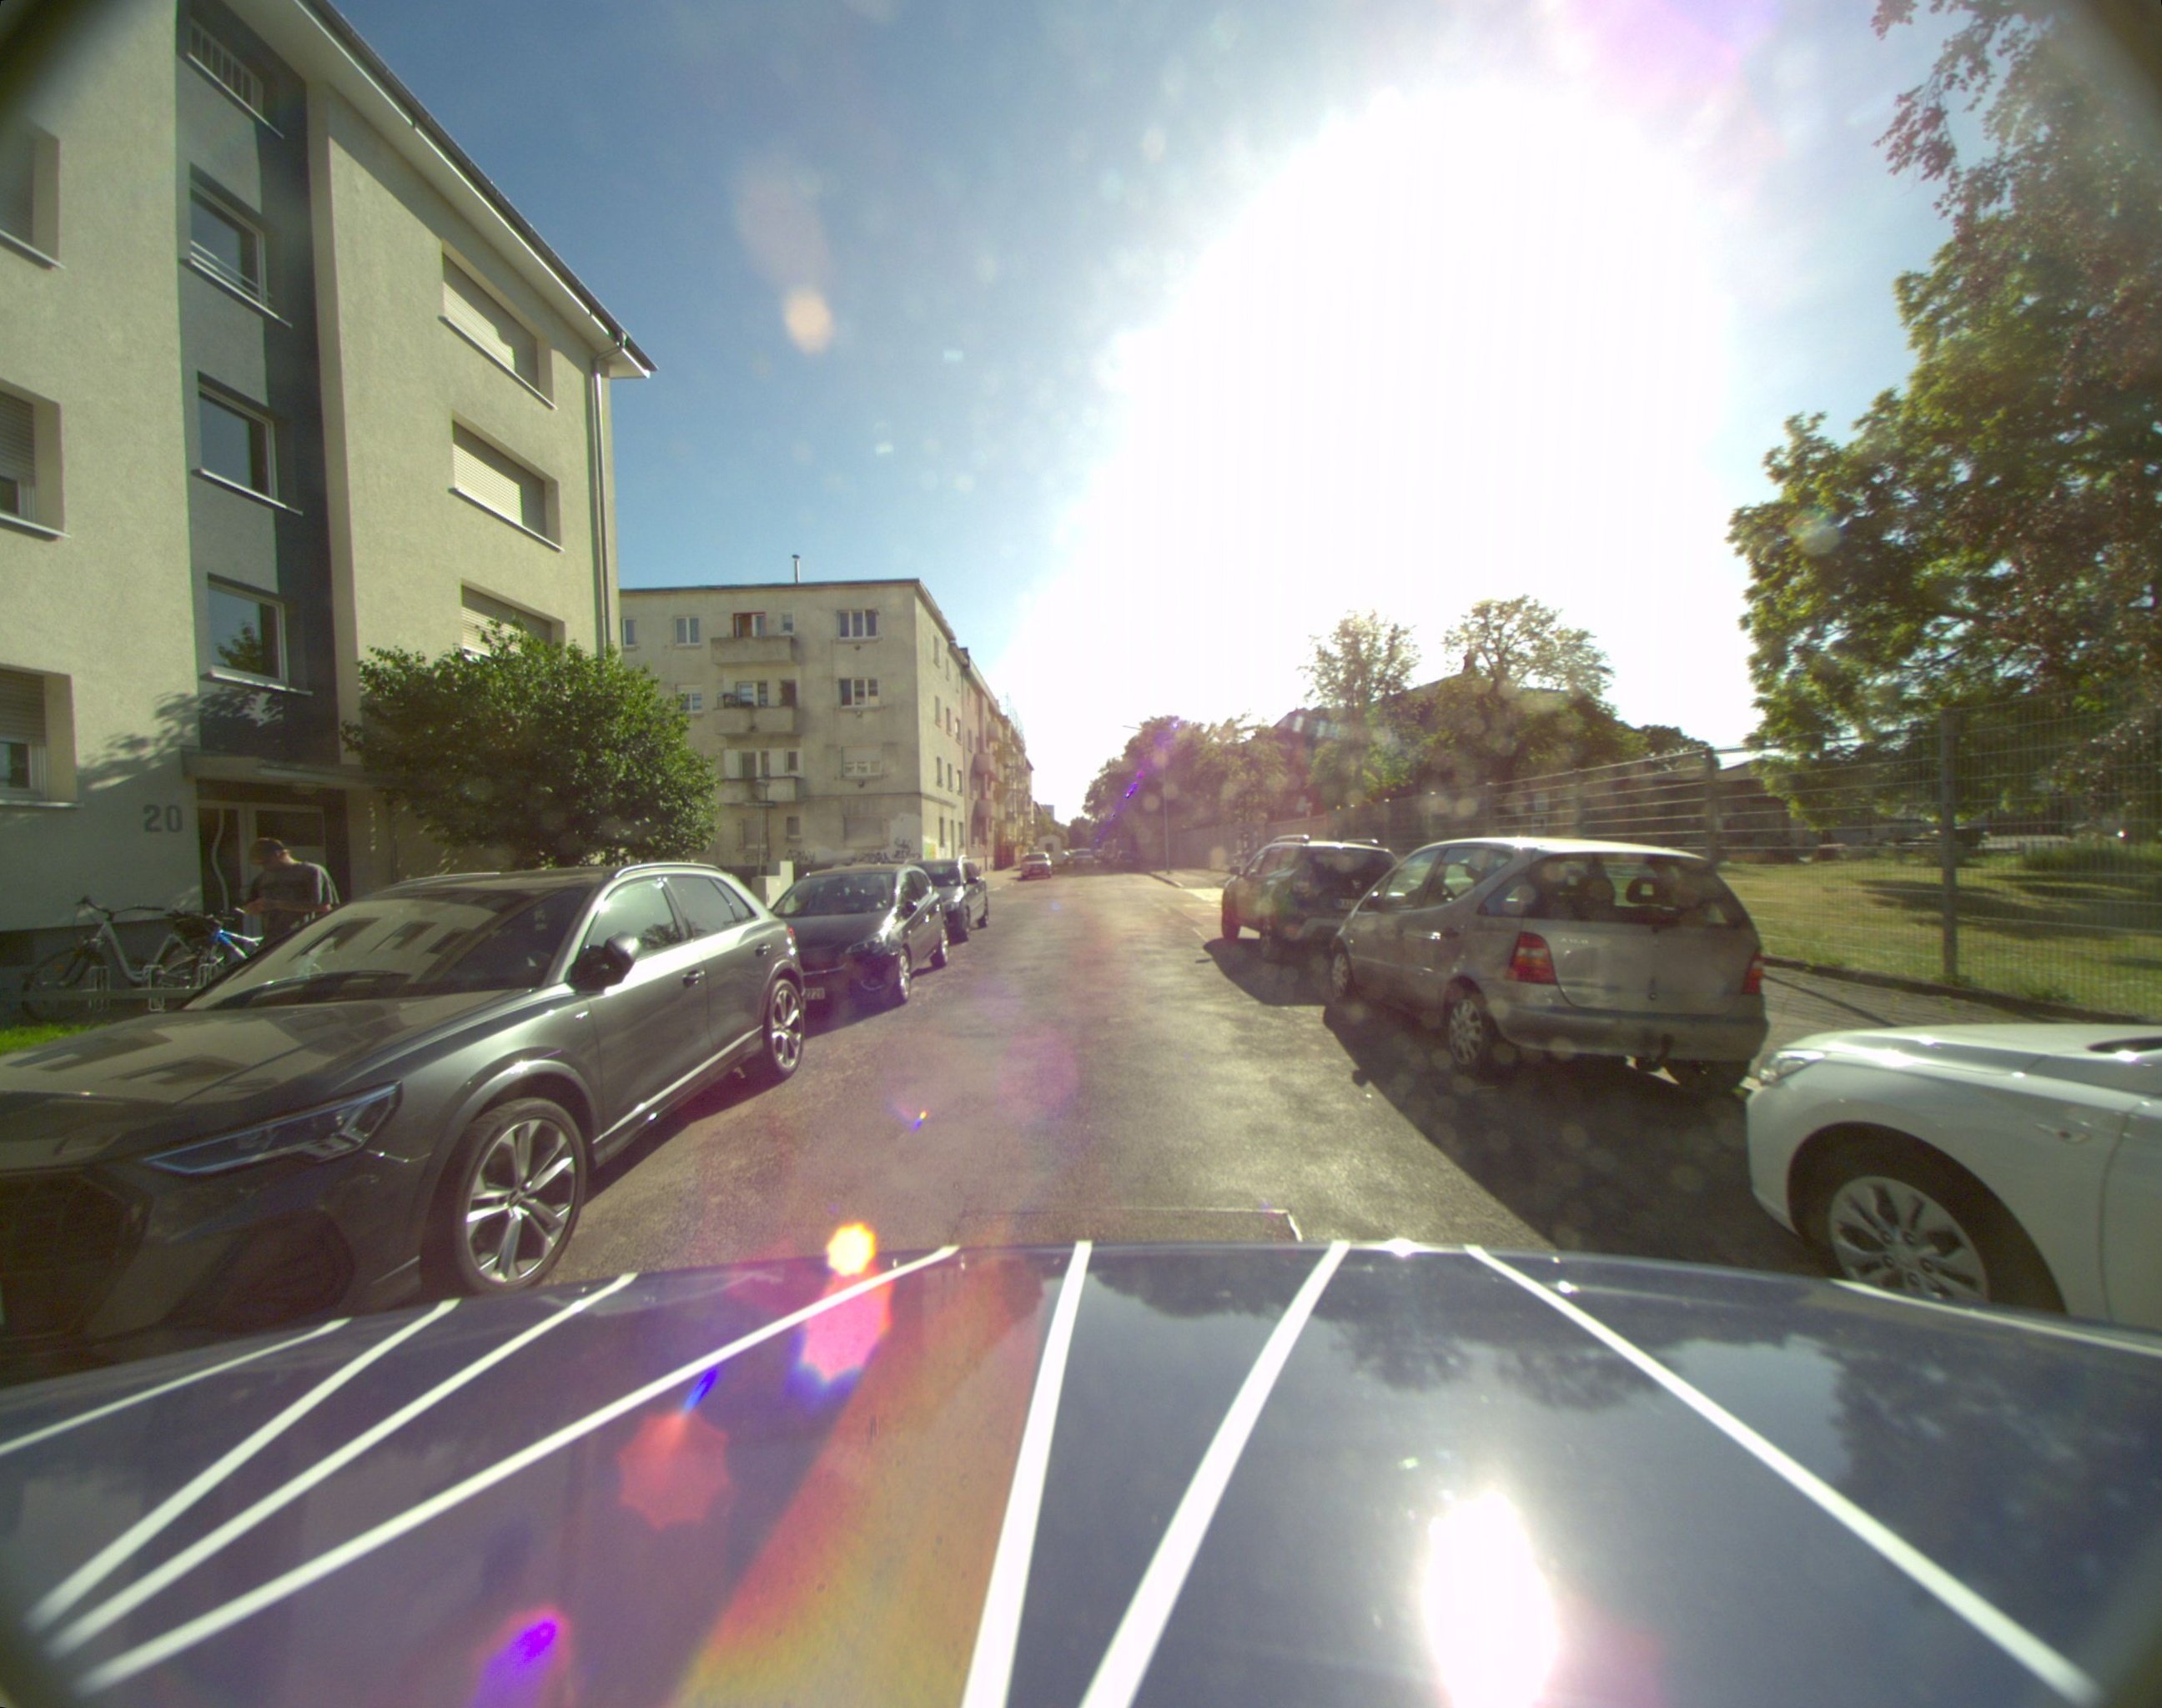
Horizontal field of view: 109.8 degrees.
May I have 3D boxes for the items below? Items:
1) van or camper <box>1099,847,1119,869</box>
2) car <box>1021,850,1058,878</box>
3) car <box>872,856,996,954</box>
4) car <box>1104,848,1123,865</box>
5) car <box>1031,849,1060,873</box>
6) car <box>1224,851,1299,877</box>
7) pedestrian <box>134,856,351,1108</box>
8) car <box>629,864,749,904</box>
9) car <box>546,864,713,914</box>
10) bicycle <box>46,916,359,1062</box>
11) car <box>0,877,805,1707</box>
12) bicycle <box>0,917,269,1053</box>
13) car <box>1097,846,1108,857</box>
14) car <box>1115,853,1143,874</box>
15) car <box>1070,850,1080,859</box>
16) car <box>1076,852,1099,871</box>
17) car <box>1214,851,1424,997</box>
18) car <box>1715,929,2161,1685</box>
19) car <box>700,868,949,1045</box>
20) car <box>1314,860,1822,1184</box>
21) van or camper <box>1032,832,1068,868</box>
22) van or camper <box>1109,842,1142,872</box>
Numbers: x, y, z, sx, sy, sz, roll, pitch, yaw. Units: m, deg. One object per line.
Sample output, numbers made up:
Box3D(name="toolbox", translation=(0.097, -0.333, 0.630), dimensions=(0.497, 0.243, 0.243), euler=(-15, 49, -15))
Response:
Box3D(name="van or camper", translation=(3.400, 0.459, 92.574), dimensions=(2.126, 2.484, 3.999), euler=(-1, 1, -1))
Box3D(name="car", translation=(-2.525, 0.590, 46.931), dimensions=(2.069, 1.544, 3.999), euler=(-2, 1, -1))
Box3D(name="car", translation=(-2.693, 0.865, 14.798), dimensions=(1.622, 1.540, 4.084), euler=(-1, 1, 0))
Box3D(name="car", translation=(3.388, 0.282, 80.016), dimensions=(1.651, 1.674, 3.999), euler=(-1, 1, -1))
Box3D(name="car", translation=(-2.431, 0.433, 53.312), dimensions=(1.876, 1.544, 3.999), euler=(-2, 1, -1))
Box3D(name="car", translation=(10.672, 0.598, 45.144), dimensions=(3.997, 1.412, 2.000), euler=(-1, 1, -1))
Box3D(name="pedestrian", translation=(-6.352, 0.913, 5.815), dimensions=(0.647, 1.761, 0.841), euler=(-1, 1, -1))
Box3D(name="car", translation=(-14.943, 1.119, 29.097), dimensions=(3.718, 1.450, 1.693), euler=(-1, -1, 1))
Box3D(name="car", translation=(-13.787, 1.066, 23.364), dimensions=(4.046, 1.406, 1.804), euler=(-1, -2, 0))
Box3D(name="bicycle", translation=(-8.398, 1.218, 7.471), dimensions=(0.486, 1.006, 2.283), euler=(0, 1, -2))
Box3D(name="car", translation=(-2.979, 1.004, 3.672), dimensions=(1.757, 1.550, 4.254), euler=(-2, 1, -1))
Box3D(name="bicycle", translation=(-9.525, 1.215, 7.567), dimensions=(0.486, 0.955, 2.283), euler=(0, 1, -2))
Box3D(name="car", translation=(3.953, -0.493, 141.746), dimensions=(1.998, 2.002, 3.999), euler=(-1, 1, 0))
Box3D(name="car", translation=(3.479, 0.675, 55.333), dimensions=(1.651, 1.409, 3.999), euler=(-2, 1, -1))
Box3D(name="car", translation=(-1.011, 0.023, 128.682), dimensions=(1.651, 1.451, 3.999), euler=(-1, 1, -1))
Box3D(name="car", translation=(0.538, 0.632, 66.539), dimensions=(1.862, 1.543, 3.999), euler=(-2, 1, -1))
Box3D(name="car", translation=(3.211, 0.835, 11.183), dimensions=(1.716, 1.654, 4.164), euler=(2, 1, 0))
Box3D(name="car", translation=(3.125, 1.021, 0.606), dimensions=(1.798, 1.436, 4.119), euler=(1, 1, 1))
Box3D(name="car", translation=(-2.694, 0.983, 8.923), dimensions=(1.609, 1.476, 3.797), euler=(-1, 1, 0))
Box3D(name="car", translation=(3.207, 0.940, 5.956), dimensions=(1.568, 1.634, 3.615), euler=(3, 1, 0))
Box3D(name="van or camper", translation=(-2.775, -0.326, 69.499), dimensions=(2.957, 3.161, 6.172), euler=(0, 0, 0))
Box3D(name="van or camper", translation=(3.578, 0.213, 61.611), dimensions=(2.211, 2.268, 5.309), euler=(-2, 1, -1))
